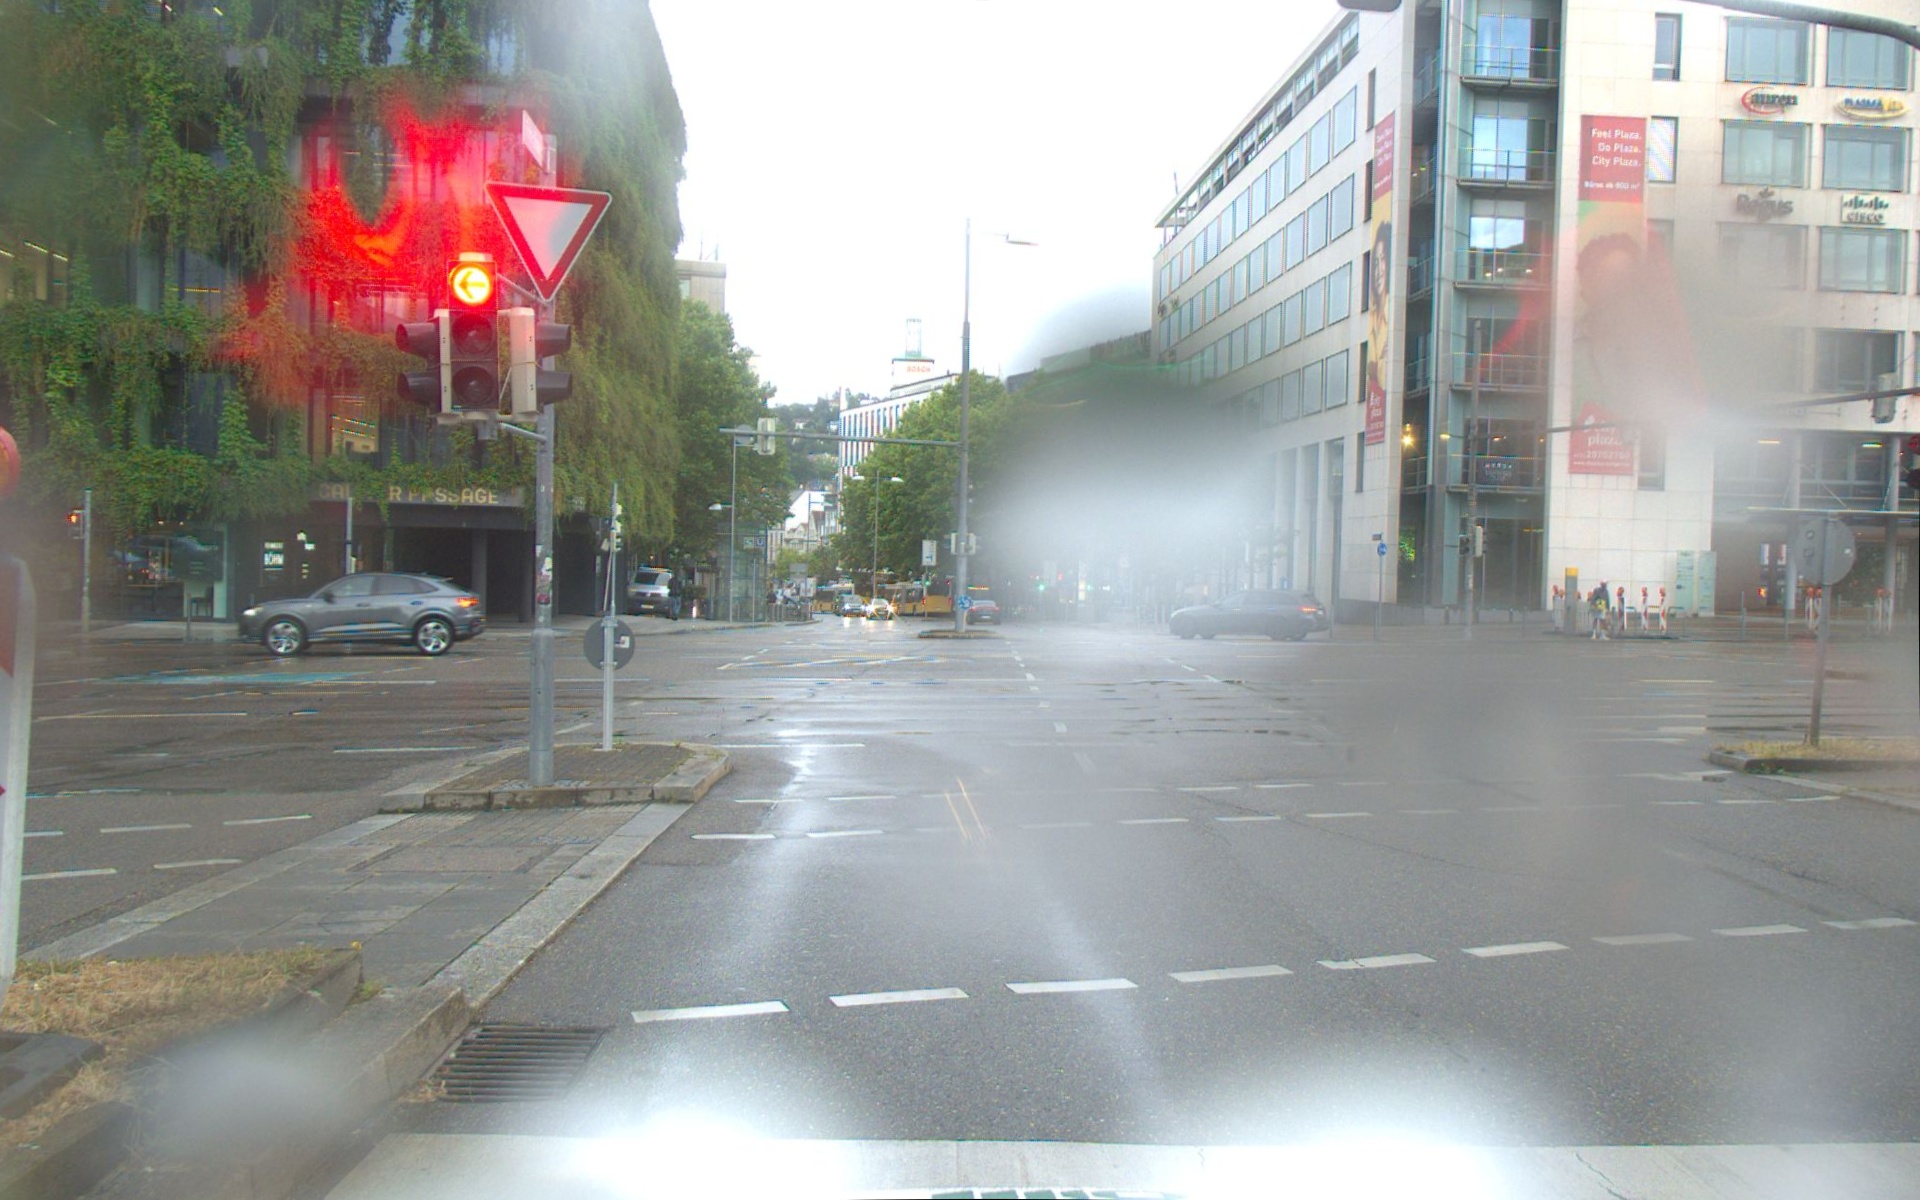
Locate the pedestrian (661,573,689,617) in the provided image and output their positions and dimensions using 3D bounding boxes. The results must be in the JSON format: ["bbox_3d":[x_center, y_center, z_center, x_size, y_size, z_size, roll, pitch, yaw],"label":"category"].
[{"bbox_3d":[-11.023,-0.198,64.026,0.915,1.673,0.774,1,-1,-1],"label":"pedestrian"}]

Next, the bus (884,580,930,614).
[{"bbox_3d":[-4.959,-0.285,153.005,2.585,3.048,7.417,0,0,-16],"label":"bus"}]

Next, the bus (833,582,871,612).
[{"bbox_3d":[-11.335,-0.313,173.055,2.585,3.048,7.296,0,0,-16],"label":"bus"}]

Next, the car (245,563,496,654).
[{"bbox_3d":[-11.205,0.178,31.772,4.402,1.637,1.823,1,0,-17],"label":"car"}]

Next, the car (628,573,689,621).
[{"bbox_3d":[-12.385,-0.111,68.132,1.832,1.871,3.999,1,0,-1],"label":"car"}]

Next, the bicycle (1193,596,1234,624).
[{"bbox_3d":[11.426,0.435,74.481,1.741,1.215,0.586,1,-1,1],"label":"bicycle"}]

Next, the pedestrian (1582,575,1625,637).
[{"bbox_3d":[19.458,0.172,49.998,0.942,1.848,0.836,1,-1,-1],"label":"pedestrian"}]

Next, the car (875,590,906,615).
[{"bbox_3d":[-5.123,0.183,121.527,2.121,1.796,5.108,0,0,-4],"label":"car"}]

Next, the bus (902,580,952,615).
[{"bbox_3d":[-2.963,-0.239,145.889,2.585,3.048,7.417,0,0,-16],"label":"bus"}]

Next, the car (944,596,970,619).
[{"bbox_3d":[-0.233,0.513,115.198,1.745,1.534,3.999,1,0,-1],"label":"car"}]

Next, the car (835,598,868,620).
[{"bbox_3d":[-9.003,0.743,136.469,2.125,1.796,4.817,-1,0,-11],"label":"car"}]

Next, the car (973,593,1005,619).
[{"bbox_3d":[1.738,0.362,99.199,1.745,1.534,3.999,1,0,-1],"label":"car"}]

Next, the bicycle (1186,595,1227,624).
[{"bbox_3d":[10.866,0.419,72.921,1.741,1.215,0.586,1,-1,1],"label":"bicycle"}]

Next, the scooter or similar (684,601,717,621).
[{"bbox_3d":[-12.930,0.543,82.331,0.612,1.022,1.653,1,0,37],"label":"scooter or similar"}]

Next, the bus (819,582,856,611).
[{"bbox_3d":[-13.332,-0.392,180.121,2.585,3.048,7.417,0,0,-16],"label":"bus"}]

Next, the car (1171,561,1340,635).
[{"bbox_3d":[8.582,-0.070,48.122,4.562,2.049,1.547,1,0,26],"label":"car"}]
